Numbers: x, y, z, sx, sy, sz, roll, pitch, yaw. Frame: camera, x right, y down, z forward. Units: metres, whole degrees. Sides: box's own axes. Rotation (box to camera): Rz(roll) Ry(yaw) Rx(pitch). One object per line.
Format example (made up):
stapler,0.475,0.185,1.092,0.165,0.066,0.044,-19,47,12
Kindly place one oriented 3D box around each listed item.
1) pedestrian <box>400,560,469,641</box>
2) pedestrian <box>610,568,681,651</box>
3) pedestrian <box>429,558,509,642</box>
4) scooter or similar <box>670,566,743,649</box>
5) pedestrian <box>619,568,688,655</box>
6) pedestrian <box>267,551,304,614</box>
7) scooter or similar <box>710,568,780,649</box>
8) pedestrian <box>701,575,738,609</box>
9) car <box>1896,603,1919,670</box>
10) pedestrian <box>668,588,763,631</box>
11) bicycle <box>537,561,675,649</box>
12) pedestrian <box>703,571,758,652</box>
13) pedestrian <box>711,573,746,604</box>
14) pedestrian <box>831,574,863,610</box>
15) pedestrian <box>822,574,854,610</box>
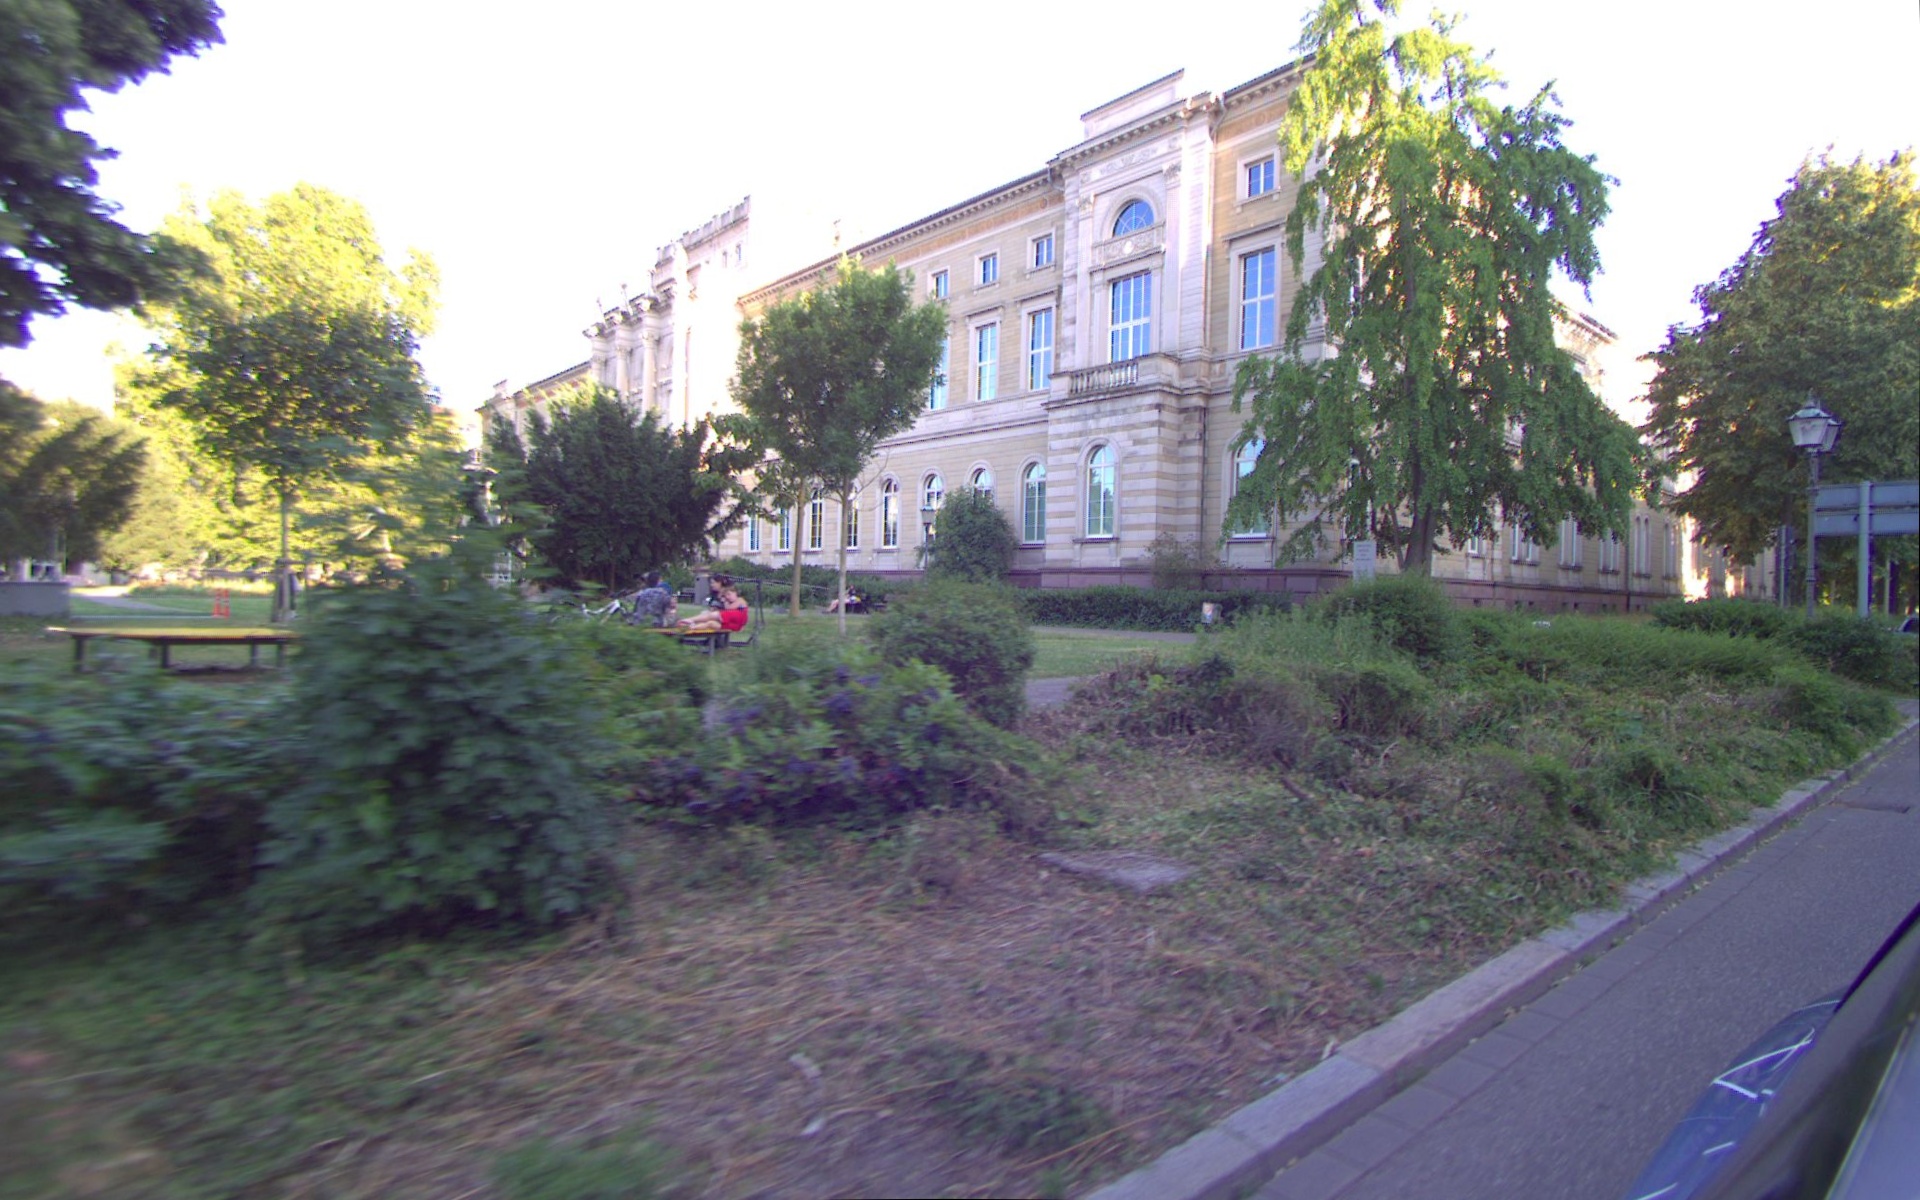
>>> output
pedestrian,-9.140,-0.001,17.606,0.756,1.364,0.778,2,1,33
pedestrian,-4.758,0.127,15.307,0.774,1.206,0.809,1,1,-37
pedestrian,-8.353,-0.009,17.221,0.913,1.364,0.874,2,1,34
scooter or similar,-4.075,0.106,16.231,1.212,1.261,0.413,2,1,34
pedestrian,-4.420,0.157,14.578,0.733,1.206,0.724,1,1,-37
pedestrian,-19.286,-0.495,28.938,0.746,1.769,0.771,1,1,-44
scooter or similar,-3.518,0.120,16.509,1.214,1.261,0.412,2,1,37
pedestrian,-11.612,-0.396,48.882,1.540,1.575,0.801,1,1,-41
car,24.098,0.908,24.433,4.531,1.506,1.727,1,4,-42
pedestrian,-3.542,0.127,14.728,0.537,0.556,1.363,5,3,30
bicycle,-5.609,0.074,16.112,0.619,1.316,1.986,2,1,45
pedestrian,-3.542,0.169,15.616,0.778,1.206,0.666,1,1,-13
pedestrian,-10.977,-0.556,47.984,1.427,1.414,0.695,1,1,-41
pedestrian,-4.497,-0.331,40.364,1.026,1.414,0.695,1,1,-40
pedestrian,-4.960,-0.328,41.132,1.026,1.414,0.695,1,1,-40
